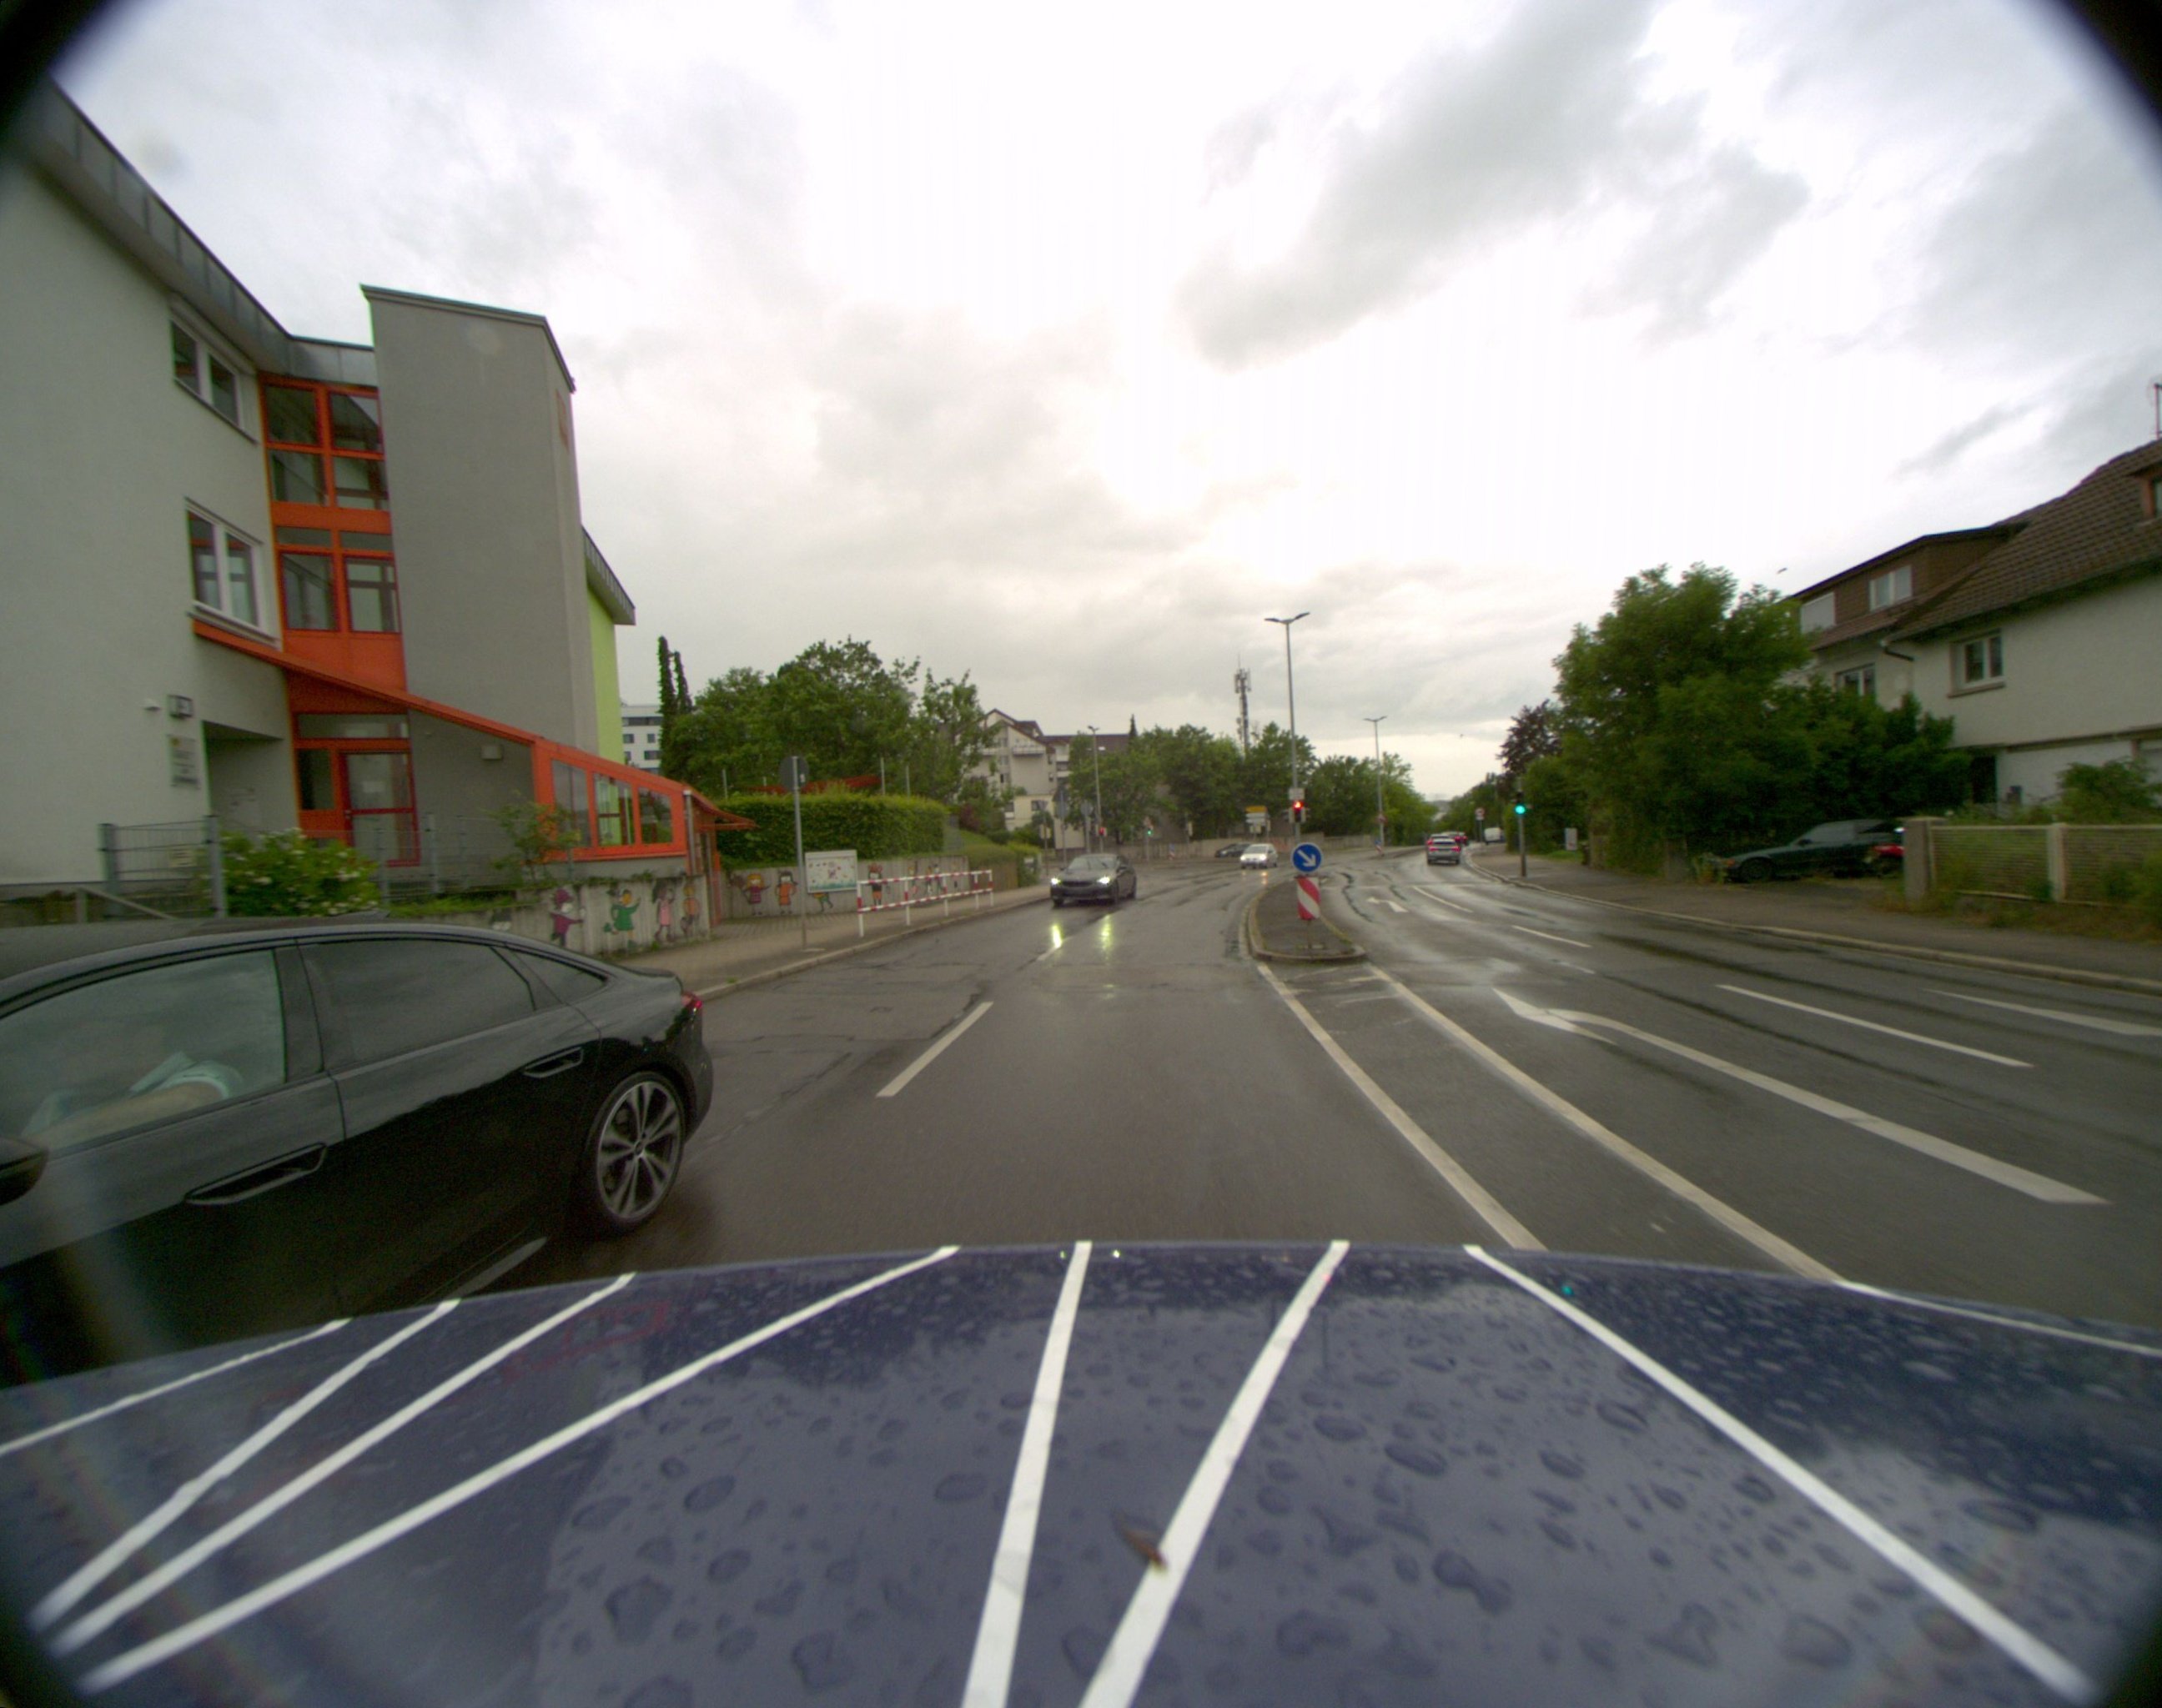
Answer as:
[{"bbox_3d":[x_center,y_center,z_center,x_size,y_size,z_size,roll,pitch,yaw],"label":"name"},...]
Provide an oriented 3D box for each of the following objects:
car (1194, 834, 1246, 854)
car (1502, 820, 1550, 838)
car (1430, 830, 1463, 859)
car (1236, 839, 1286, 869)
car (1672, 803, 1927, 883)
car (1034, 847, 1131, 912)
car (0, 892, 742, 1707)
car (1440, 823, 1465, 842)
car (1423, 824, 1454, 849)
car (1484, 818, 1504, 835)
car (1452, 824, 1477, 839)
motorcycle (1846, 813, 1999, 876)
[{"bbox_3d":[13.069,-0.950,71.462,4.228,1.647,1.997,-4,2,-14],"label":"car"},{"bbox_3d":[42.783,-2.408,73.101,3.881,1.448,1.771,-2,3,28],"label":"car"},{"bbox_3d":[21.998,-0.597,45.693,1.677,1.442,4.694,-2,2,26],"label":"car"},{"bbox_3d":[11.734,-0.023,49.330,1.995,1.647,4.006,-2,3,30],"label":"car"},{"bbox_3d":[17.244,-0.260,18.470,3.994,1.386,1.934,-7,0,13],"label":"car"},{"bbox_3d":[0.163,0.678,22.425,1.870,1.511,4.002,-3,2,14],"label":"car"},{"bbox_3d":[-2.892,1.057,1.748,1.871,1.416,4.737,-3,2,2],"label":"car"},{"bbox_3d":[32.819,-1.937,67.087,1.866,1.545,4.452,0,3,28],"label":"car"},{"bbox_3d":[26.665,-1.327,56.544,1.884,1.668,4.237,-2,2,27],"label":"car"},{"bbox_3d":[45.683,-3.060,83.951,1.817,1.708,4.006,-2,3,30],"label":"car"},{"bbox_3d":[41.022,-2.454,81.193,1.865,1.468,4.453,0,3,33],"label":"car"},{"bbox_3d":[18.336,-0.202,16.611,2.206,1.083,0.728,-7,1,10],"label":"motorcycle"}]
